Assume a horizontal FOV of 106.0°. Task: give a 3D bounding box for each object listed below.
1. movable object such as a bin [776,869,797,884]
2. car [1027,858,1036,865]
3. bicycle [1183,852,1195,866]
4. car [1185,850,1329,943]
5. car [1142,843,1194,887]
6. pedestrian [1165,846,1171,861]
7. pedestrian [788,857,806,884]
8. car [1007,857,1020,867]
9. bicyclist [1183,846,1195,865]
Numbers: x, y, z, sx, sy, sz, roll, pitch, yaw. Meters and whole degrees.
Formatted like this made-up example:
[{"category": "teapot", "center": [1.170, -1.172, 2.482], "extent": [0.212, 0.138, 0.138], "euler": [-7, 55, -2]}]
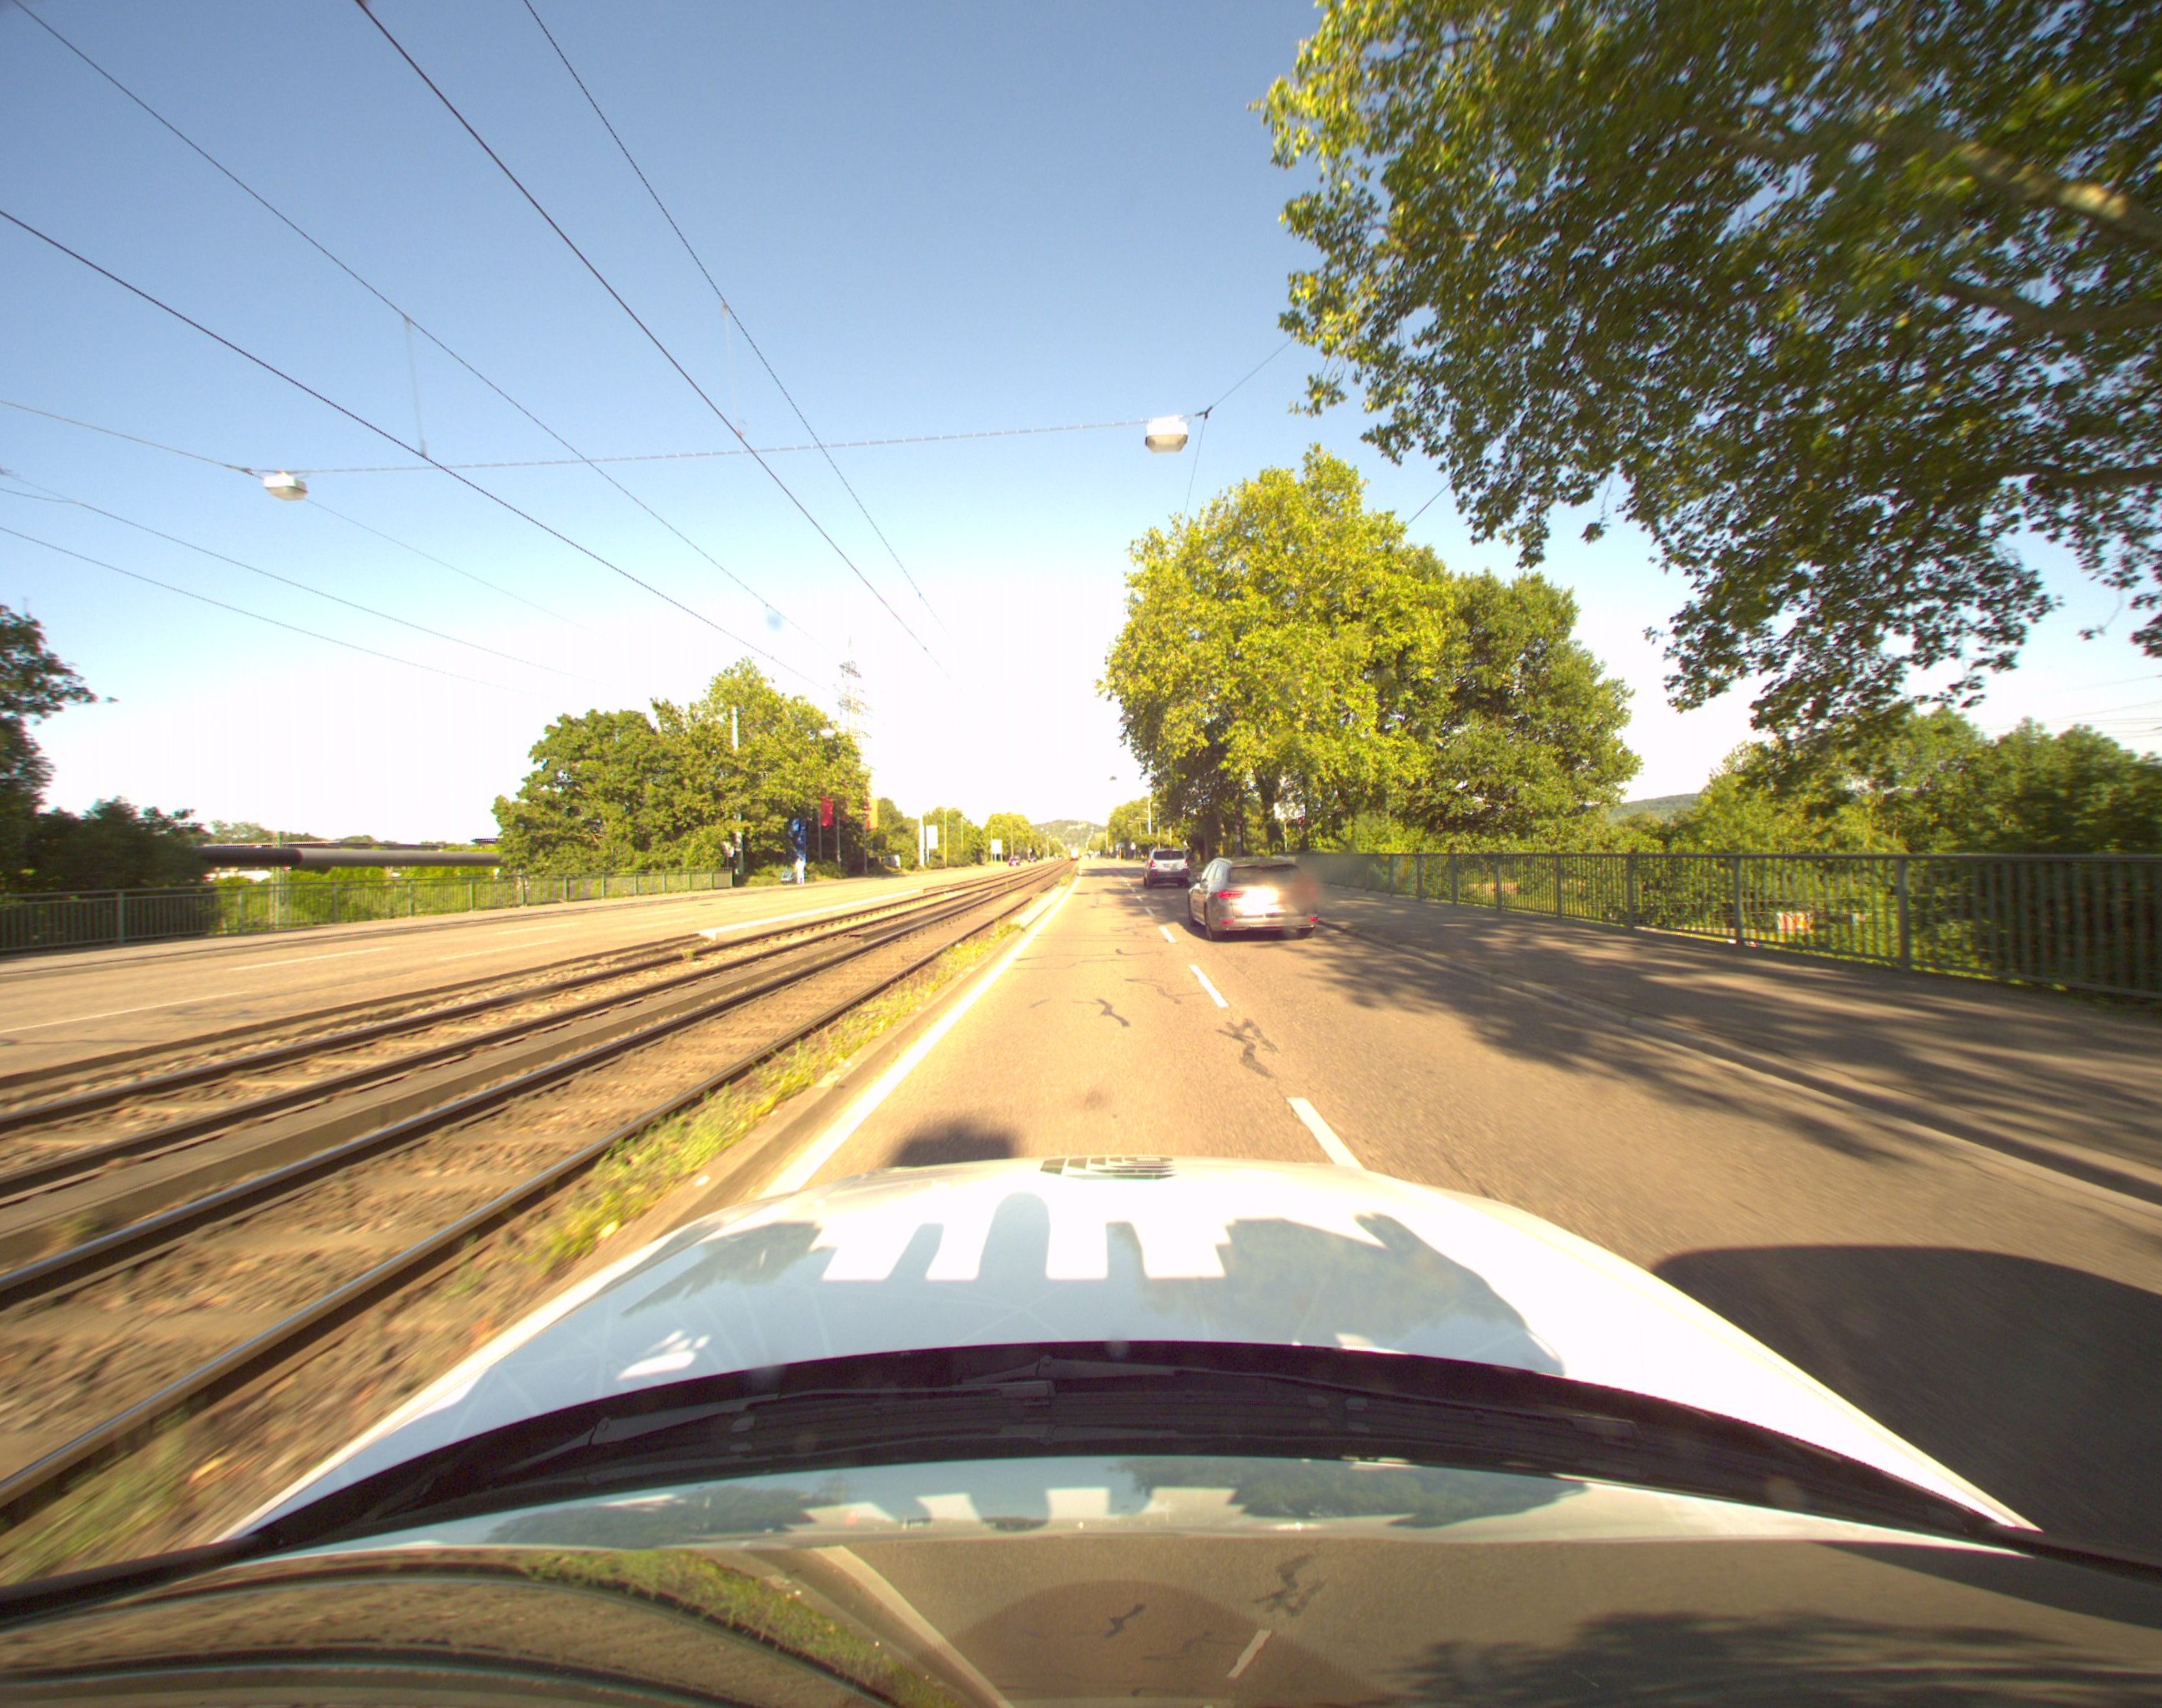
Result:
[{"category": "movable object such as a bin", "center": [-19.110, 1.450, 52.848], "extent": [0.718, 0.961, 1.107], "euler": [1, -1, 23]}, {"category": "car", "center": [-12.093, 1.788, 199.217], "extent": [1.900, 1.643, 3.998], "euler": [1, 1, -2]}, {"category": "bicycle", "center": [8.904, 0.431, 67.247], "extent": [0.791, 1.094, 1.896], "euler": [-4, 0, 4]}, {"category": "car", "center": [3.139, 0.689, 15.496], "extent": [1.859, 1.467, 4.668], "euler": [-1, 0, 2]}, {"category": "car", "center": [3.730, 0.430, 35.662], "extent": [1.877, 1.795, 4.000], "euler": [1, 1, 0]}, {"category": "pedestrian", "center": [11.406, -0.054, 106.669], "extent": [0.624, 1.871, 0.623], "euler": [1, 0, 0]}, {"category": "pedestrian", "center": [-18.733, 1.075, 53.748], "extent": [0.718, 1.756, 0.840], "euler": [1, -1, 23]}, {"category": "car", "center": [-11.656, 1.354, 141.271], "extent": [1.856, 1.720, 4.001], "euler": [-1, 1, 1]}, {"category": "bicyclist", "center": [8.877, 0.130, 67.136], "extent": [0.791, 1.460, 1.113], "euler": [-4, 0, 4]}]
